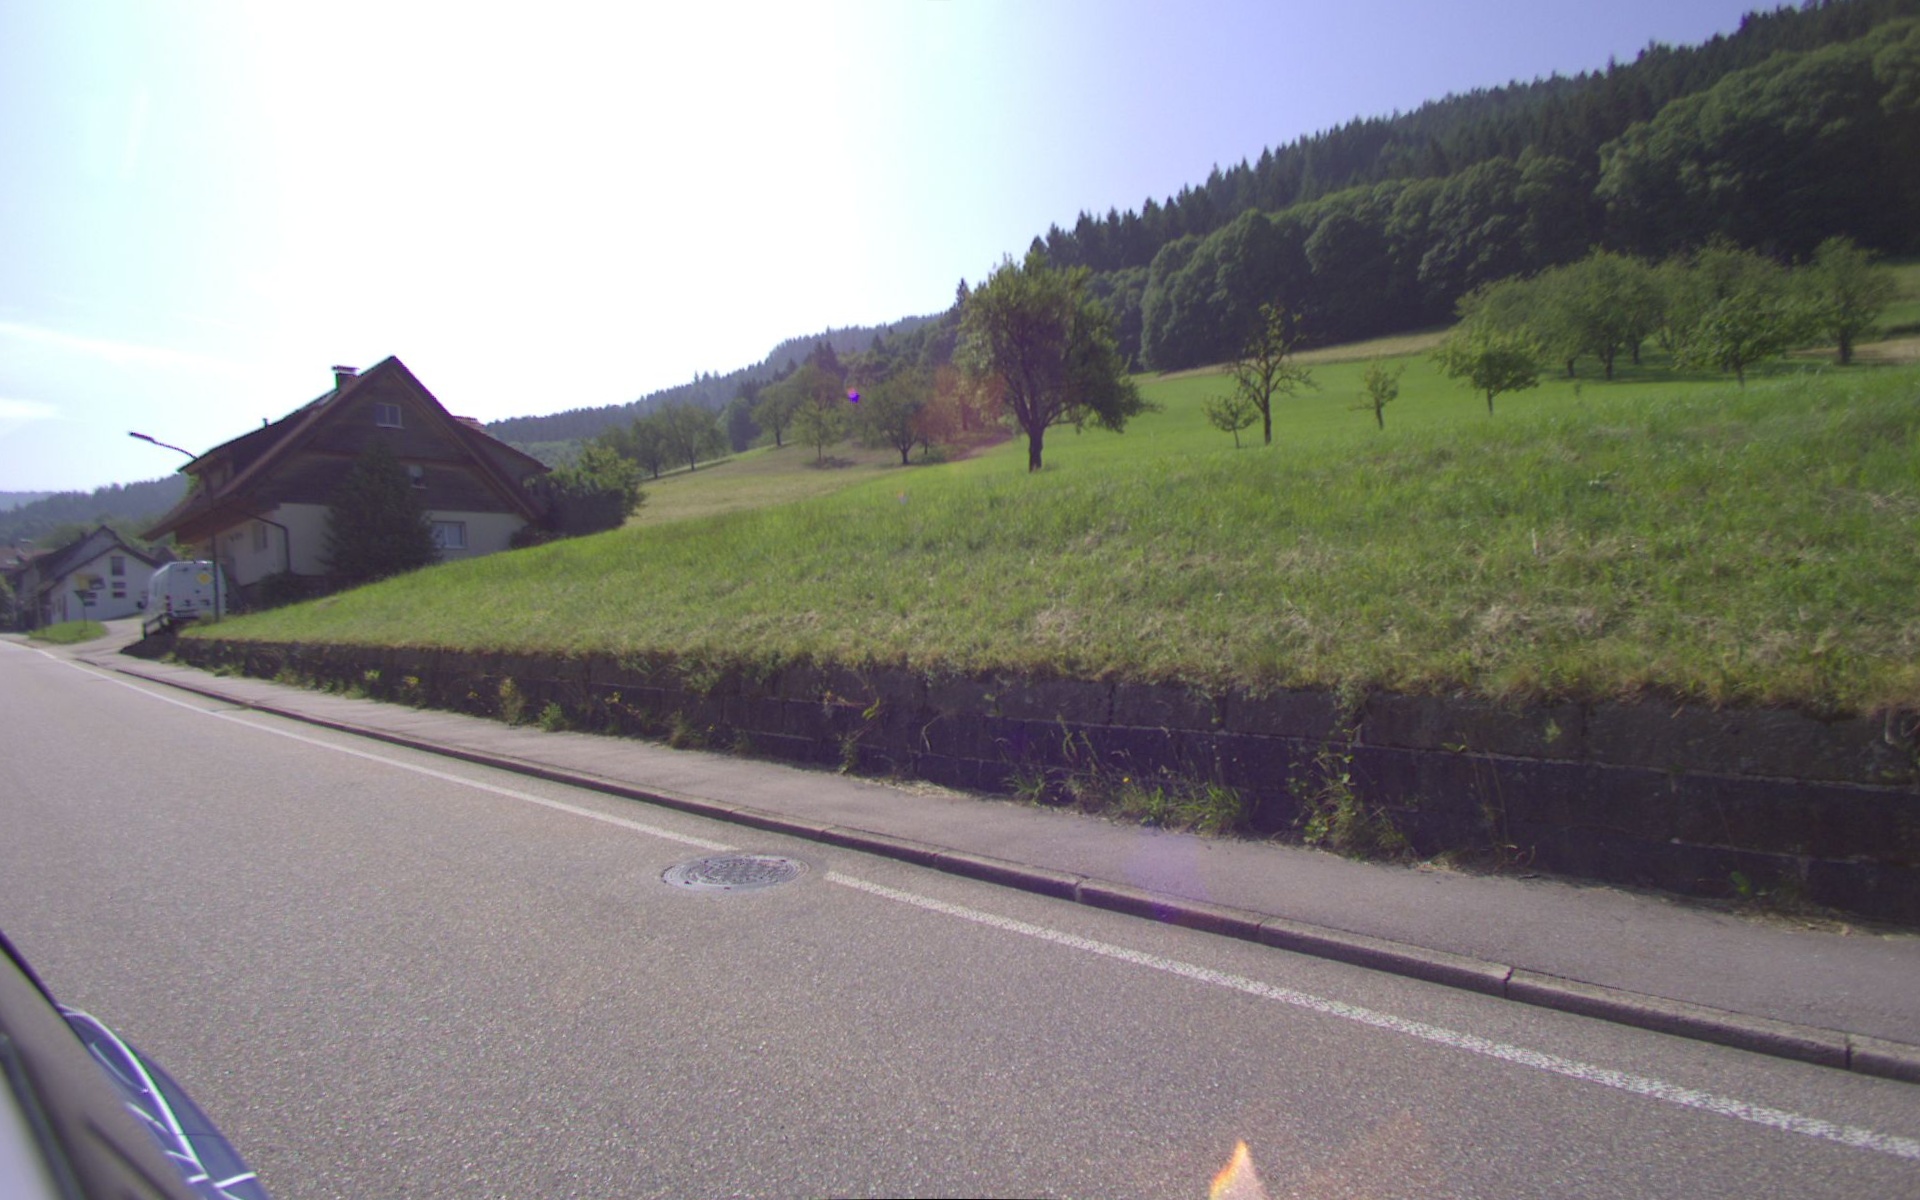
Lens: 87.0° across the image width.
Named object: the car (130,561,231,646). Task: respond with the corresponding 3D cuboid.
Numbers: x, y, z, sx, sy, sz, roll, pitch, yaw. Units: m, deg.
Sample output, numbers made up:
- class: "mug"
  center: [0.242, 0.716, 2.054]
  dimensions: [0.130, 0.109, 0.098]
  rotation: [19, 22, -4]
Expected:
- class: "car"
  center: [-31.096, 0.223, 40.249]
  dimensions: [7.175, 2.708, 2.045]
  rotation: [-6, -1, 44]
